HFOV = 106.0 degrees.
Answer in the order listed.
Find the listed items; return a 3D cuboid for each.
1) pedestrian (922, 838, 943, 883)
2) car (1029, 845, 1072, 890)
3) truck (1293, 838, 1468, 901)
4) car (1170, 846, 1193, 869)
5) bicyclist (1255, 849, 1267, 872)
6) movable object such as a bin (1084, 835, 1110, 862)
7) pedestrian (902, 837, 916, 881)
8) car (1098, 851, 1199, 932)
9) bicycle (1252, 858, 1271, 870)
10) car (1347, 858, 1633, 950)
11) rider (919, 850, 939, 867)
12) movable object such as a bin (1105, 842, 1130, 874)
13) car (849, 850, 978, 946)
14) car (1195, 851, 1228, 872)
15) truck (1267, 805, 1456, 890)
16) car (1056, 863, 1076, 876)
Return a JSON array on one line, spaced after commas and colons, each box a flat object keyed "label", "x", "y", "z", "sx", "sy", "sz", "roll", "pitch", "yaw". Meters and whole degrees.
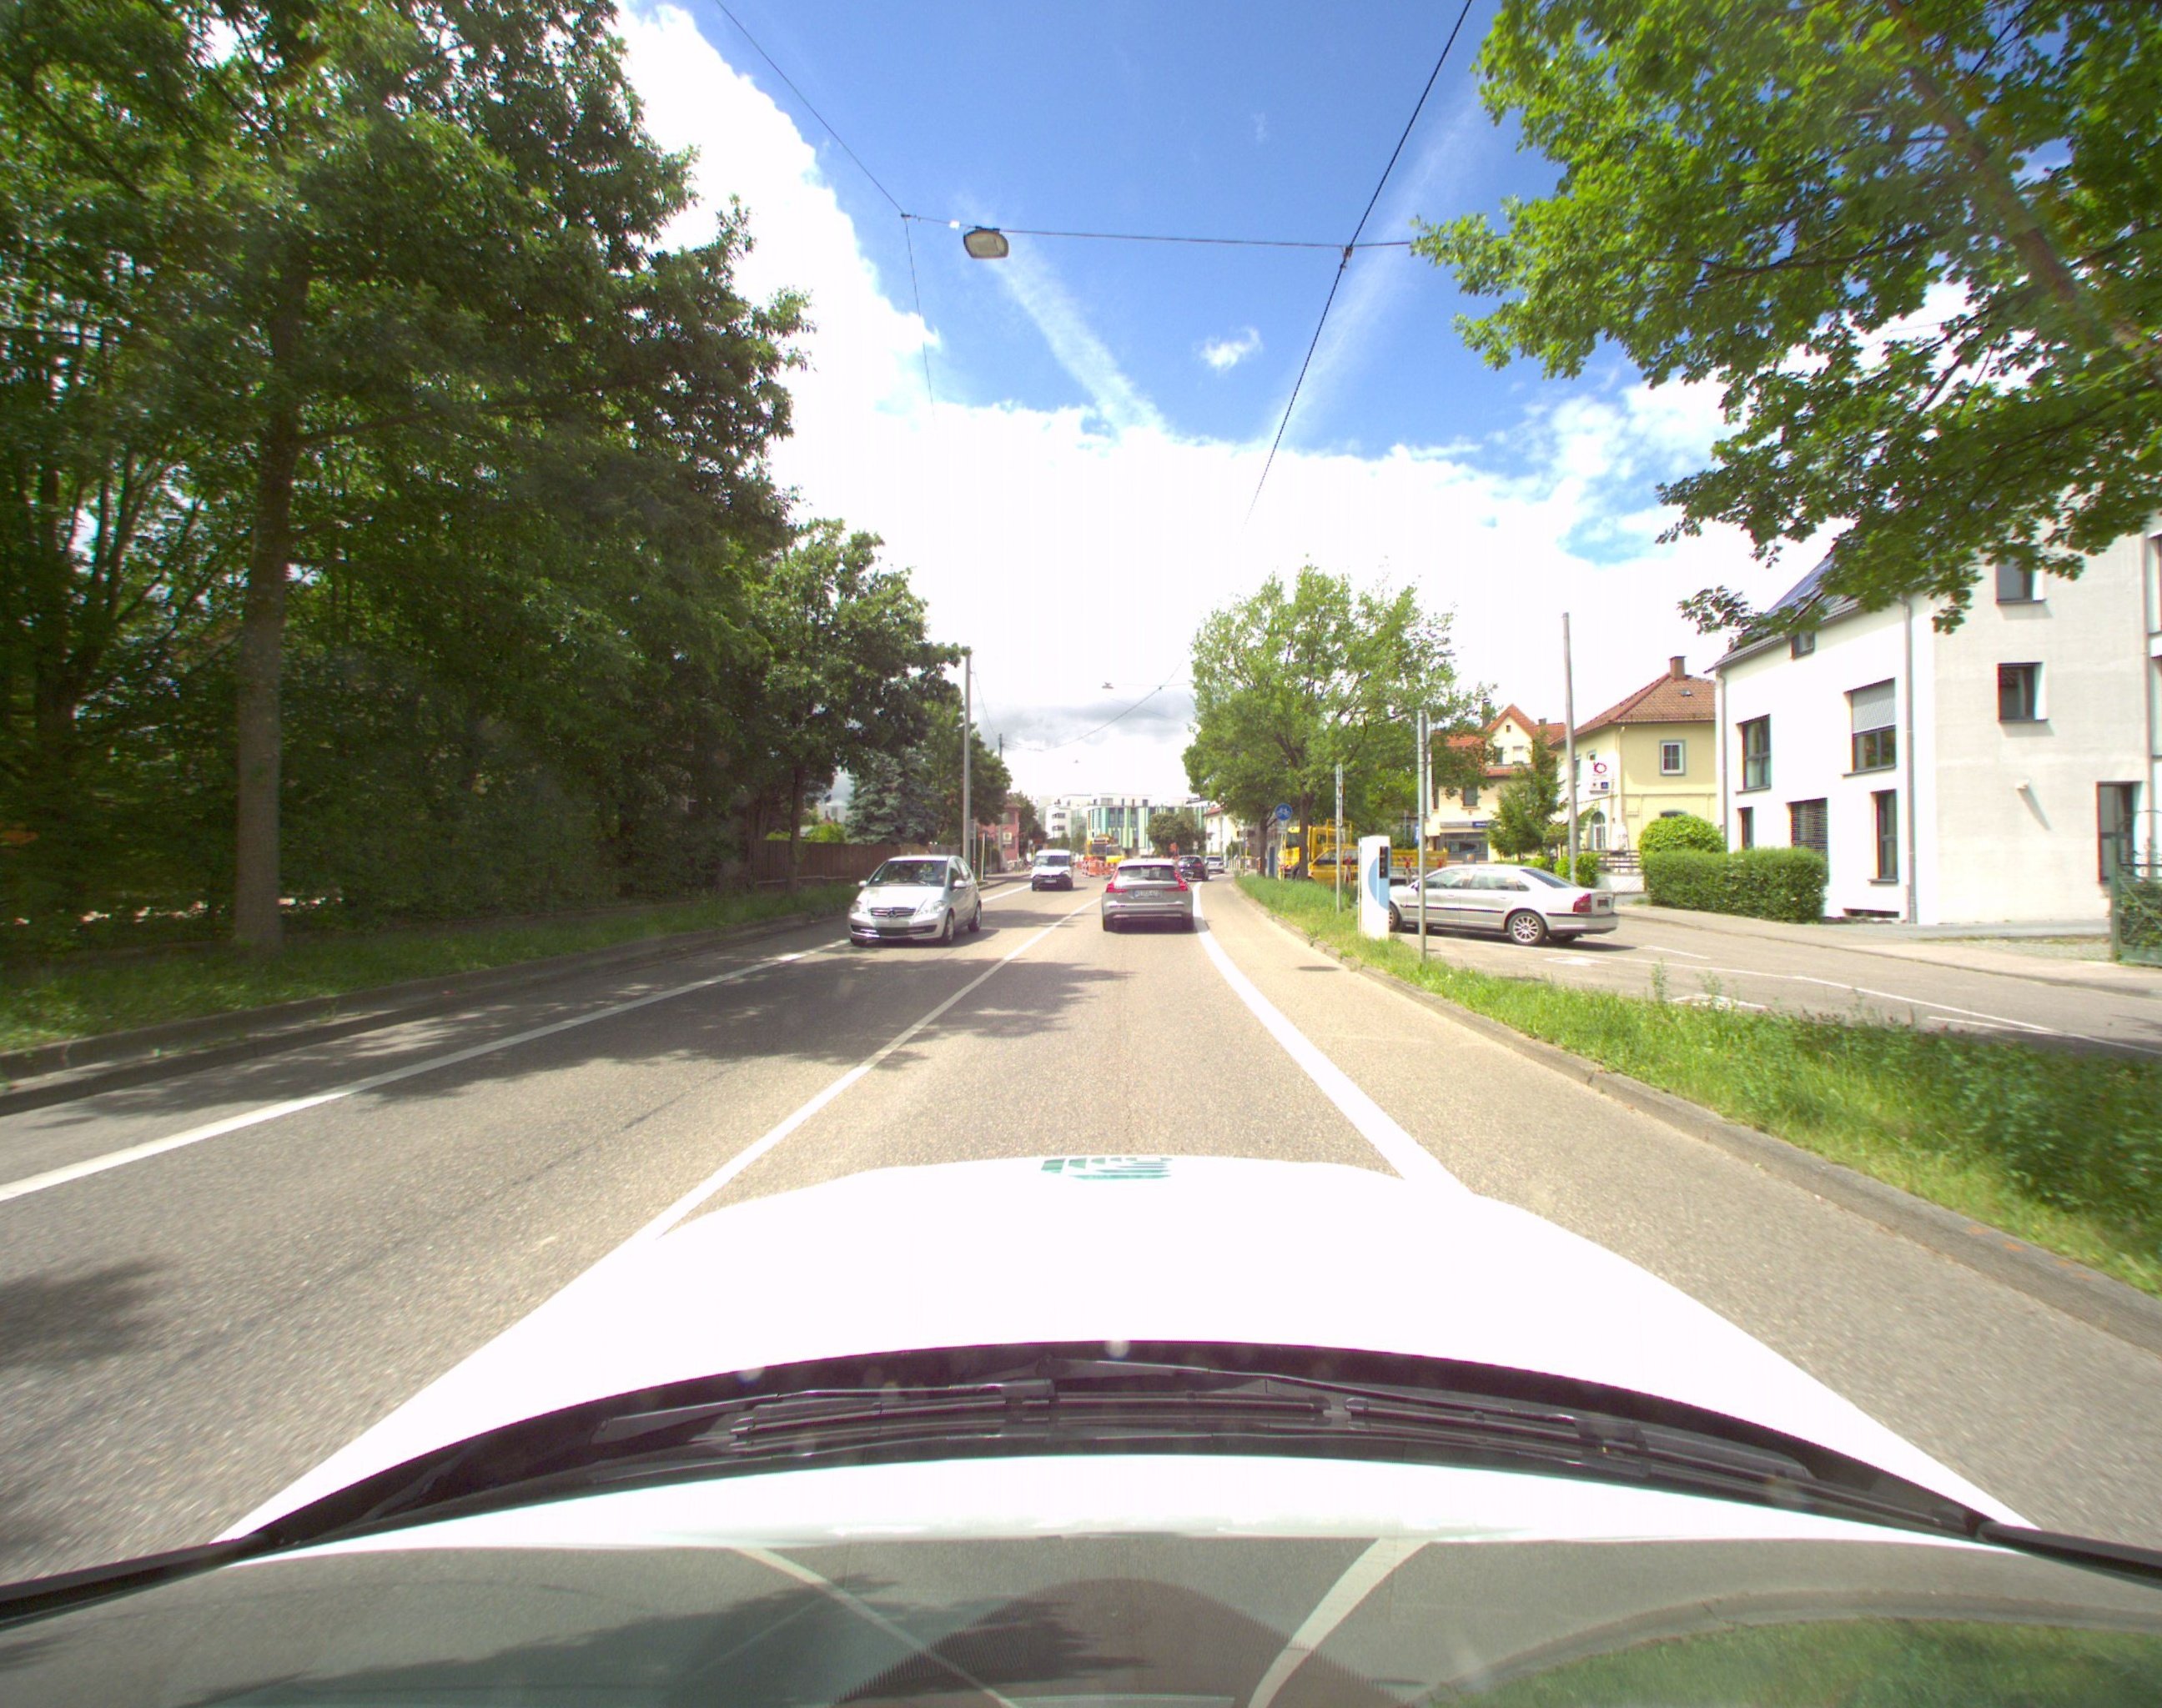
[{"label": "pedestrian", "x": -6.791, "y": 0.317, "z": 37.376, "sx": 0.712, "sy": 2.014, "sz": 0.771, "roll": 3, "pitch": -2, "yaw": 0}, {"label": "car", "x": -1.343, "y": 0.636, "z": 37.502, "sx": 1.842, "sy": 1.875, "sz": 4.591, "roll": -1, "pitch": -1, "yaw": -1}, {"label": "truck", "x": 10.621, "y": 0.508, "z": 29.293, "sx": 2.009, "sy": 2.014, "sz": 5.612, "roll": 4, "pitch": -2, "yaw": -39}, {"label": "car", "x": 9.715, "y": 0.320, "z": 78.498, "sx": 1.981, "sy": 2.014, "sz": 4.010, "roll": 2, "pitch": -1, "yaw": 10}, {"label": "bicyclist", "x": 12.531, "y": 0.440, "z": 56.667, "sx": 0.590, "sy": 1.559, "sz": 0.564, "roll": 3, "pitch": -2, "yaw": -14}, {"label": "movable object such as a bin", "x": 1.835, "y": -0.570, "z": 93.898, "sx": 2.307, "sy": 2.990, "sz": 6.414, "roll": 0, "pitch": 0, "yaw": -6}, {"label": "pedestrian", "x": -7.814, "y": 0.230, "z": 36.964, "sx": 0.400, "sy": 2.014, "sz": 0.415, "roll": 2, "pitch": -2, "yaw": 5}, {"label": "car", "x": 1.467, "y": 0.742, "z": 17.749, "sx": 1.919, "sy": 1.540, "sz": 4.005, "roll": -1, "pitch": 0, "yaw": 5}, {"label": "bicycle", "x": 12.527, "y": 0.673, "z": 56.607, "sx": 0.595, "sy": 0.812, "sz": 1.746, "roll": 3, "pitch": -1, "yaw": -14}, {"label": "car", "x": 7.740, "y": 0.848, "z": 15.823, "sx": 1.777, "sy": 1.452, "sz": 4.634, "roll": 1, "pitch": 0, "yaw": -41}, {"label": "rider", "x": -6.811, "y": 0.212, "z": 36.582, "sx": 0.726, "sy": 0.735, "sz": 0.690, "roll": 3, "pitch": -2, "yaw": 0}, {"label": "movable object such as a bin", "x": 3.167, "y": 0.360, "z": 70.389, "sx": 2.026, "sy": 2.643, "sz": 5.943, "roll": 0, "pitch": 0, "yaw": 2}, {"label": "car", "x": -3.068, "y": 0.736, "z": 15.709, "sx": 1.703, "sy": 1.618, "sz": 3.999, "roll": 0, "pitch": 0, "yaw": -1}, {"label": "car", "x": 10.679, "y": 0.628, "z": 67.093, "sx": 2.094, "sy": 1.510, "sz": 4.001, "roll": 4, "pitch": -1, "yaw": 2}, {"label": "truck", "x": 11.168, "y": -0.245, "z": 32.879, "sx": 2.785, "sy": 3.008, "sz": 6.625, "roll": 4, "pitch": -2, "yaw": -43}, {"label": "car", "x": -1.764, "y": 1.886, "z": 98.625, "sx": 1.878, "sy": 1.508, "sz": 4.007, "roll": -2, "pitch": -2, "yaw": 7}]
